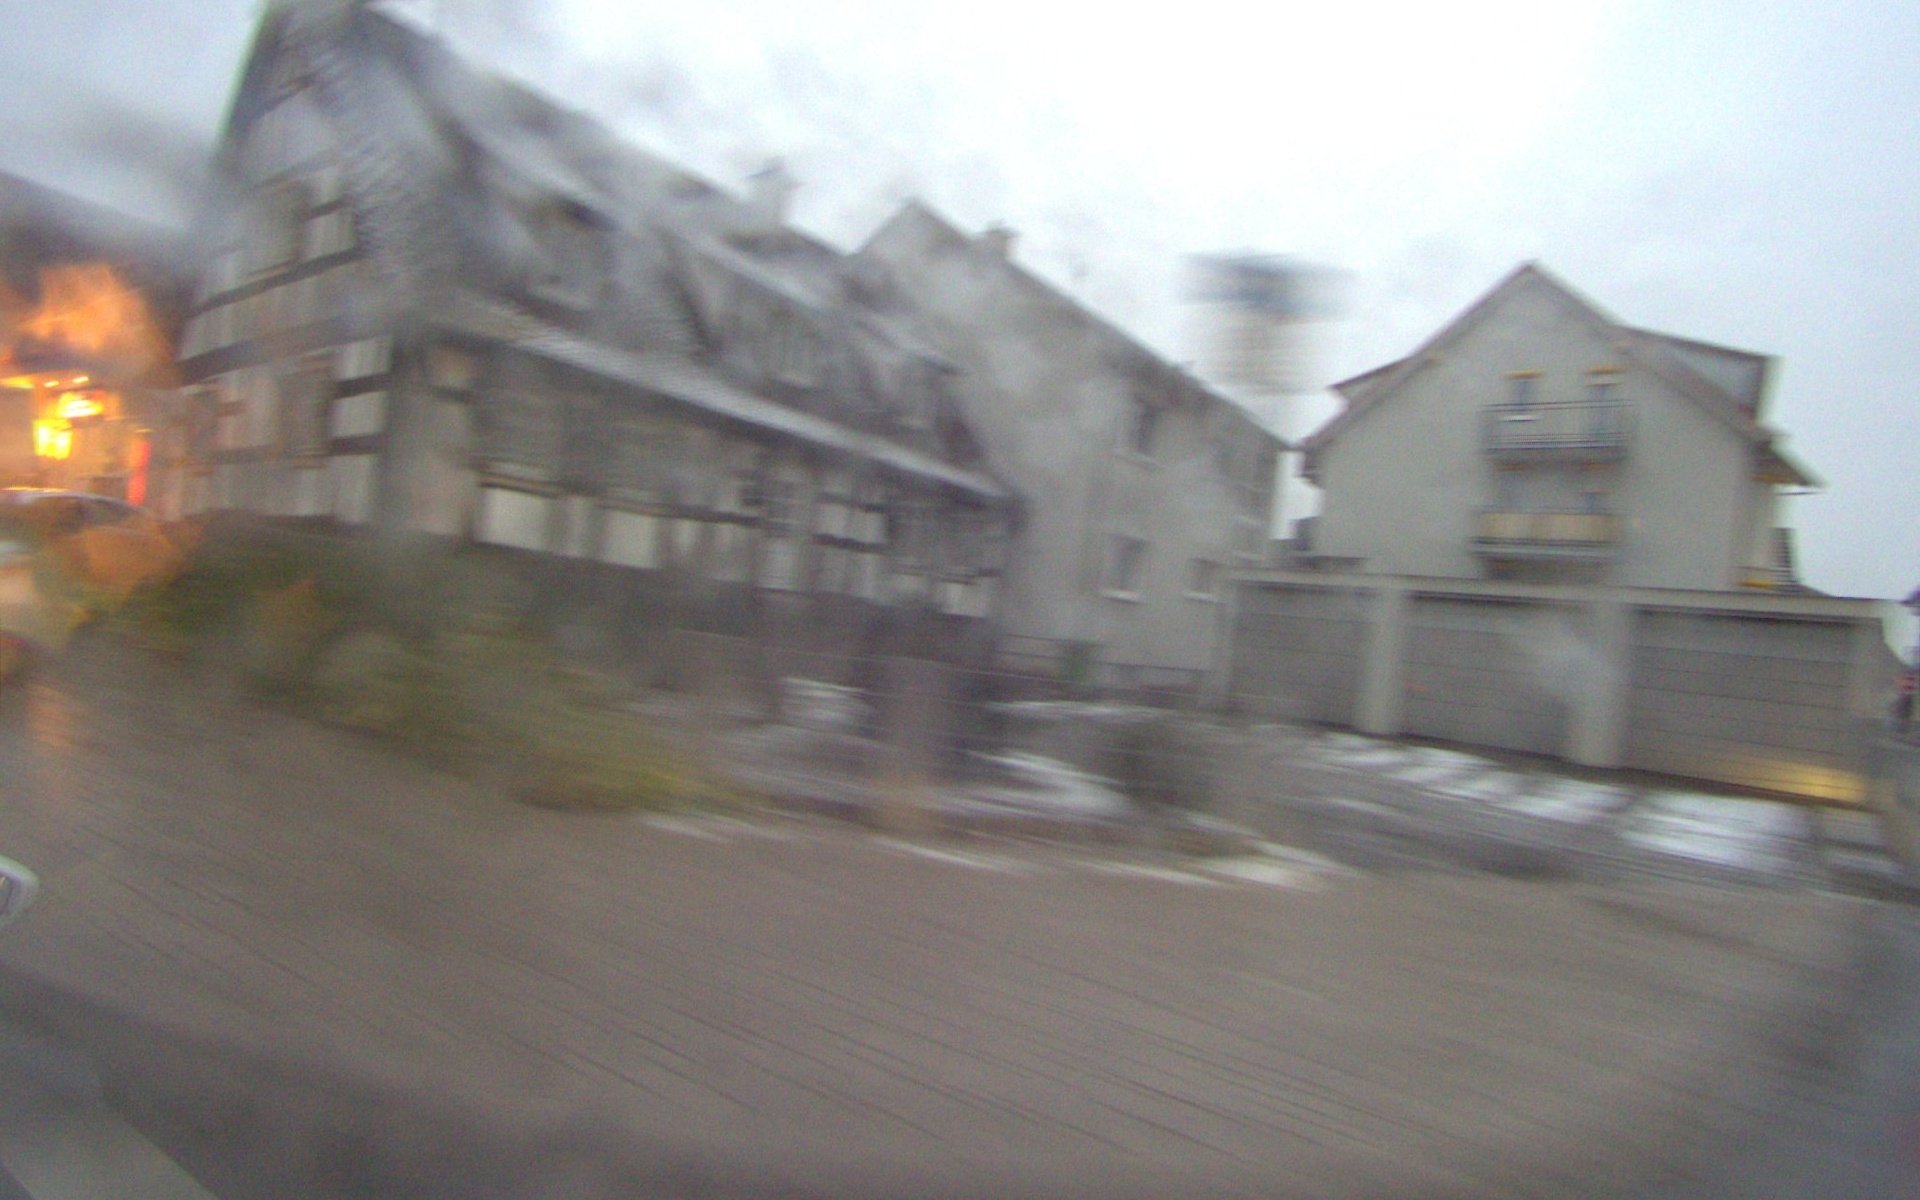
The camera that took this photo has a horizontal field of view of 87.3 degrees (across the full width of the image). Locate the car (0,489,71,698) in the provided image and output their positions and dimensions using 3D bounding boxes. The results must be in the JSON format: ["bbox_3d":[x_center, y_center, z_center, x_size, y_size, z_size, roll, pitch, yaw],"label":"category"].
[{"bbox_3d":[-8.686,-0.243,7.754,3.935,1.478,1.732,6,1,33],"label":"car"}]

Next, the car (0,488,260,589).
[{"bbox_3d":[-14.750,-1.051,17.954,1.659,1.460,3.290,6,2,32],"label":"car"}]
